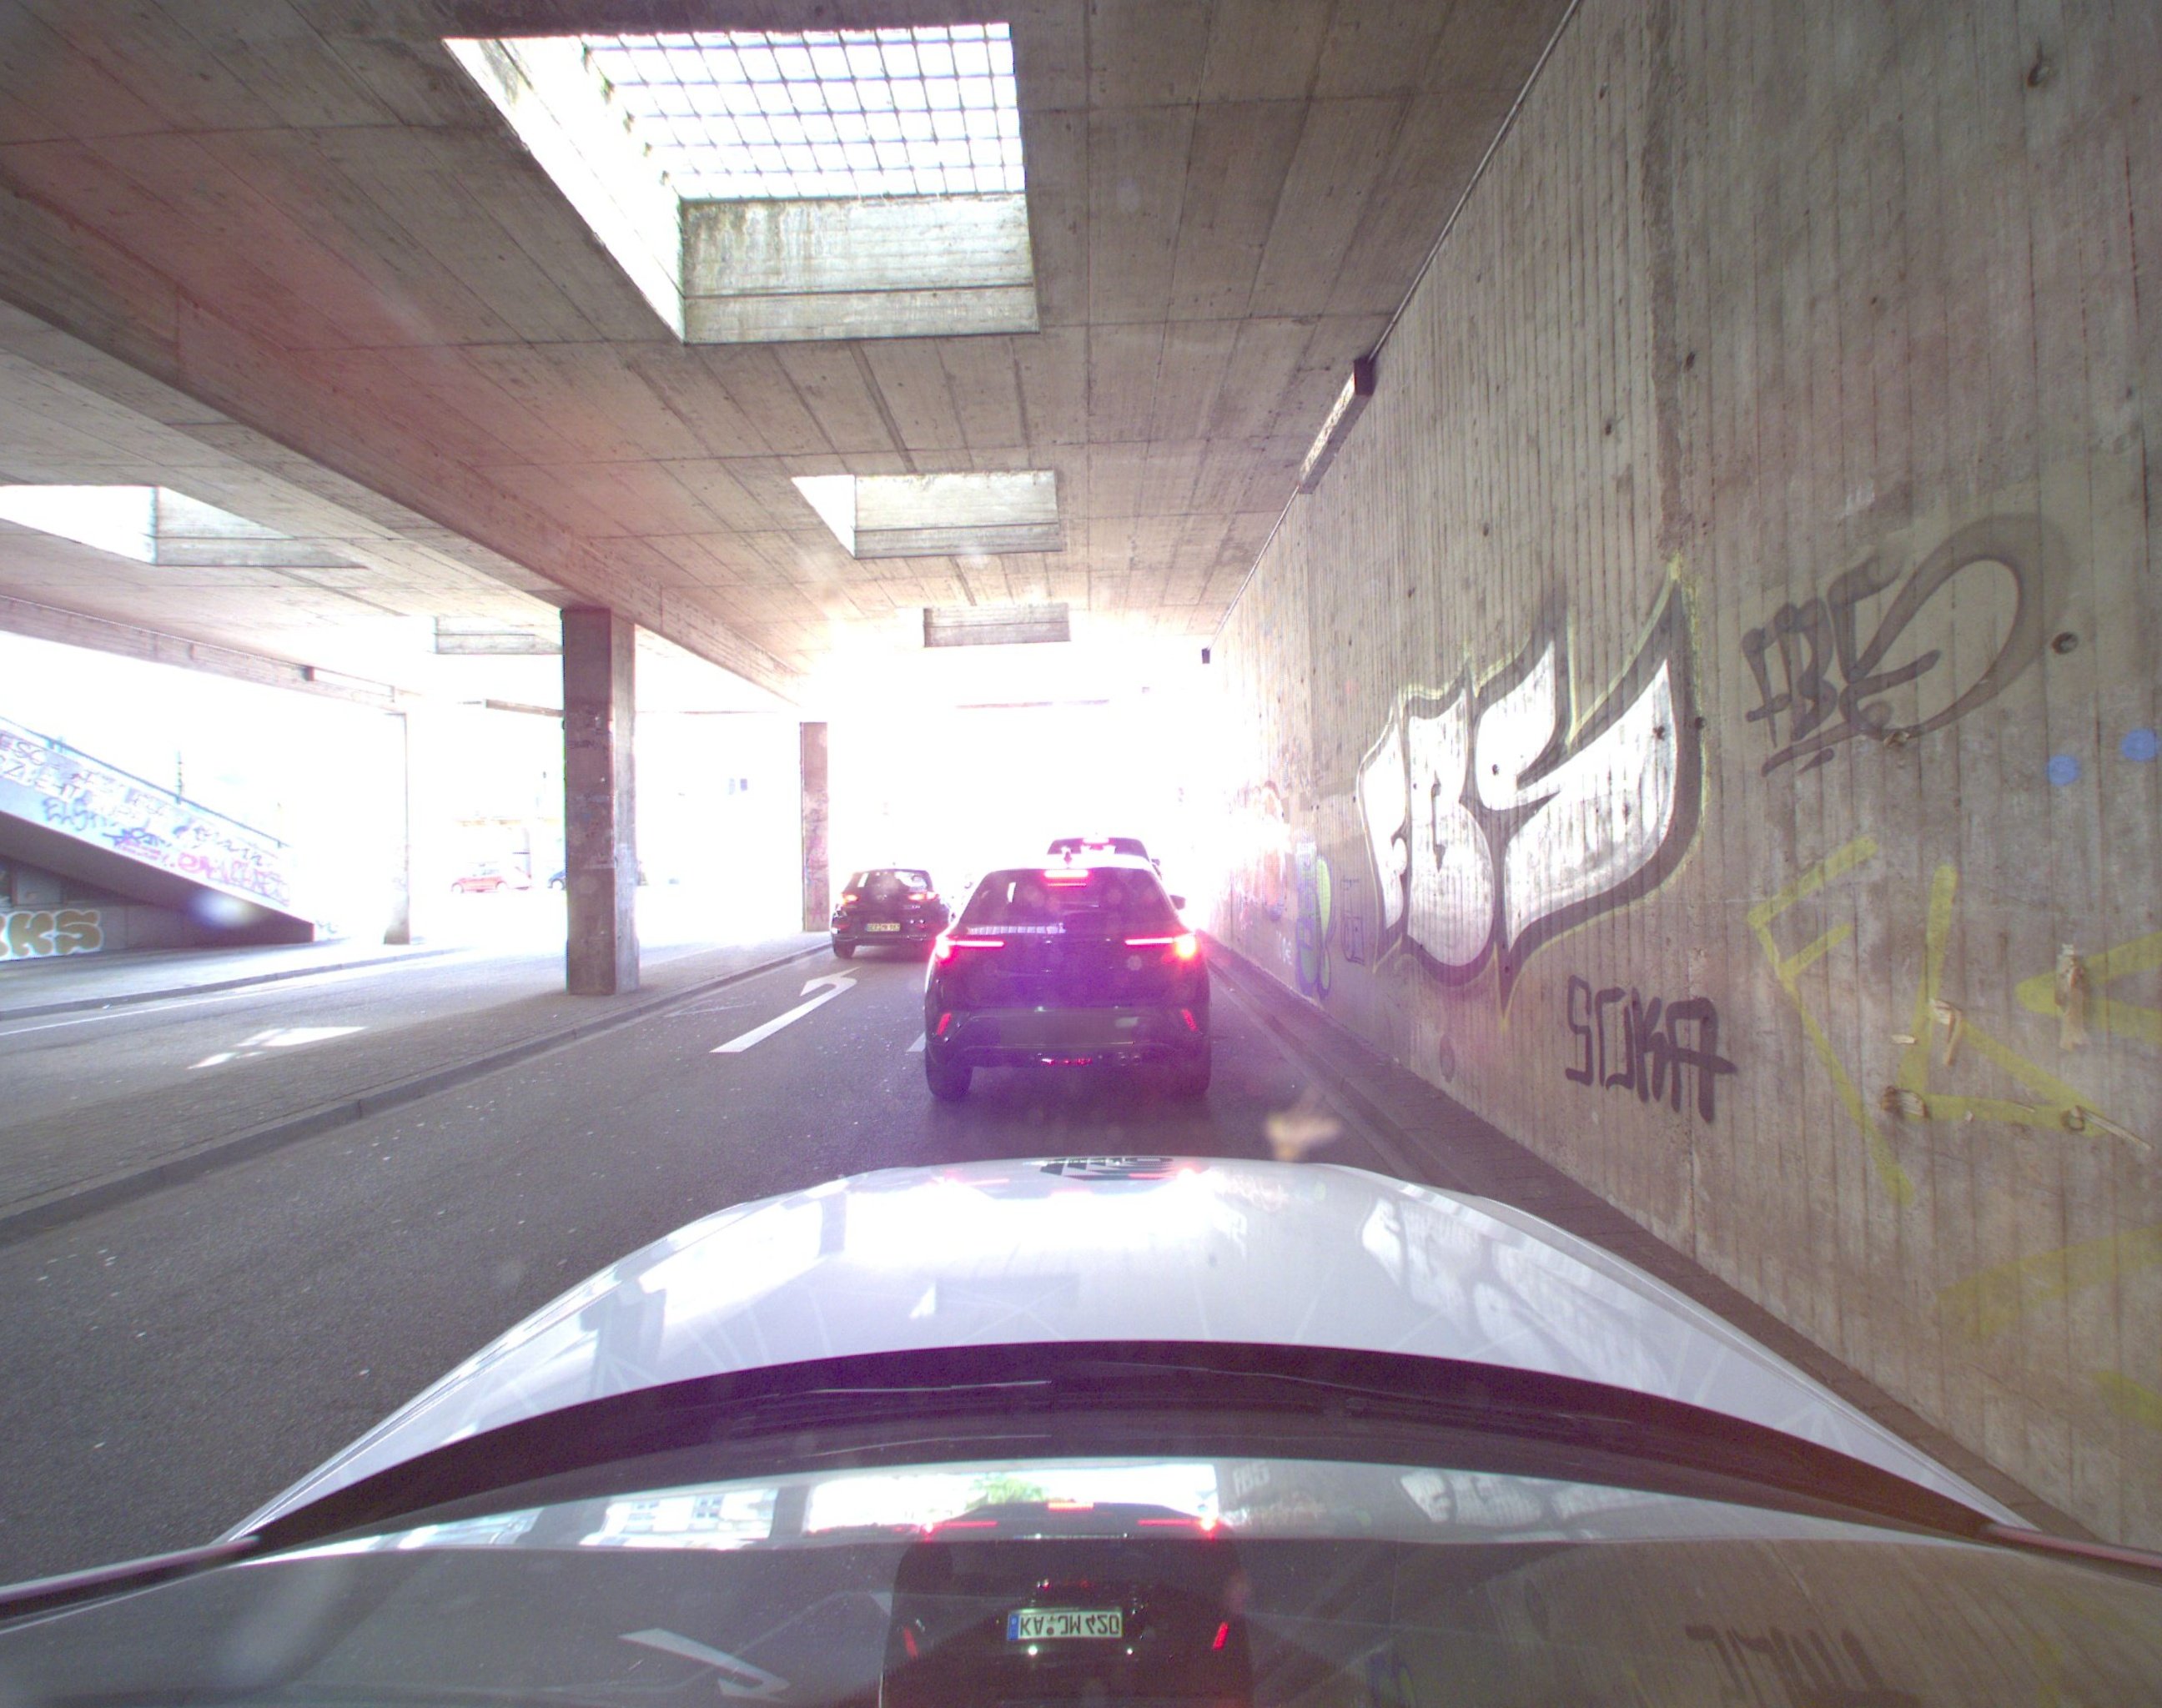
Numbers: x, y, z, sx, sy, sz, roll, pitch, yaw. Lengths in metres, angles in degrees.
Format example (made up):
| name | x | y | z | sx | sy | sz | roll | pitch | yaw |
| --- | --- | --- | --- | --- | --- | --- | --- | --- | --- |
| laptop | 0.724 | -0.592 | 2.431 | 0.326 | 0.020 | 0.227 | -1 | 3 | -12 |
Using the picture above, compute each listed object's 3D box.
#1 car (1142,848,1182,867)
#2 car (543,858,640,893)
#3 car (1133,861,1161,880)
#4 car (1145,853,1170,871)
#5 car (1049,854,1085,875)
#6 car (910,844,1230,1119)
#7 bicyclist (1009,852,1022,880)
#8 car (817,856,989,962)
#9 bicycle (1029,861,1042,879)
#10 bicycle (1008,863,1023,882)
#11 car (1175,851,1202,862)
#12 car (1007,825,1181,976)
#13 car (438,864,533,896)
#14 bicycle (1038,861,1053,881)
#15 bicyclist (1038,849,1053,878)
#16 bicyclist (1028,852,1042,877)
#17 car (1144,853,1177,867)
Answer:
| name | x | y | z | sx | sy | sz | roll | pitch | yaw |
| --- | --- | --- | --- | --- | --- | --- | --- | --- | --- |
| car | 11.579 | 0.503 | 116.036 | 5.267 | 2.545 | 1.976 | -2 | -1 | -14 |
| car | -27.216 | 1.167 | 45.335 | 4.144 | 1.724 | 1.964 | -1 | 1 | 2 |
| car | 5.580 | 1.341 | 68.309 | 1.695 | 1.452 | 3.865 | -2 | 0 | 14 |
| car | 7.069 | 0.720 | 75.036 | 1.693 | 1.512 | 3.877 | -3 | -1 | 13 |
| car | -1.002 | 0.732 | 59.558 | 1.645 | 1.441 | 3.478 | -2 | 0 | 16 |
| car | -0.004 | 0.716 | 6.443 | 1.775 | 1.517 | 3.757 | -1 | 0 | 2 |
| bicyclist | -4.024 | 0.730 | 50.046 | 0.602 | 1.632 | 0.911 | -2 | 0 | 7 |
| car | -2.778 | 0.787 | 13.739 | 1.794 | 1.451 | 4.327 | -2 | 0 | 1 |
| bicycle | -2.971 | 1.037 | 53.223 | 0.539 | 1.123 | 2.060 | -1 | 0 | 3 |
| bicycle | -4.019 | 1.111 | 49.971 | 0.523 | 1.090 | 1.864 | -1 | 0 | 7 |
| car | 21.140 | 0.454 | 160.632 | 4.888 | 2.083 | 1.977 | -2 | -1 | -12 |
| car | 0.208 | 0.584 | 12.676 | 2.125 | 1.835 | 4.941 | -2 | 0 | 1 |
| car | -33.012 | 1.421 | 45.228 | 3.863 | 1.540 | 1.900 | -1 | 1 | 2 |
| bicycle | -2.183 | 1.035 | 50.108 | 0.695 | 1.090 | 1.863 | -1 | 2 | 5 |
| bicyclist | -2.175 | 0.580 | 50.133 | 0.742 | 1.711 | 0.968 | -2 | 1 | 4 |
| bicyclist | -3.012 | 0.679 | 53.324 | 0.779 | 1.660 | 1.032 | -2 | 0 | 3 |
| car | 13.106 | 0.938 | 134.087 | 4.905 | 2.083 | 1.970 | -2 | -1 | -23 |
